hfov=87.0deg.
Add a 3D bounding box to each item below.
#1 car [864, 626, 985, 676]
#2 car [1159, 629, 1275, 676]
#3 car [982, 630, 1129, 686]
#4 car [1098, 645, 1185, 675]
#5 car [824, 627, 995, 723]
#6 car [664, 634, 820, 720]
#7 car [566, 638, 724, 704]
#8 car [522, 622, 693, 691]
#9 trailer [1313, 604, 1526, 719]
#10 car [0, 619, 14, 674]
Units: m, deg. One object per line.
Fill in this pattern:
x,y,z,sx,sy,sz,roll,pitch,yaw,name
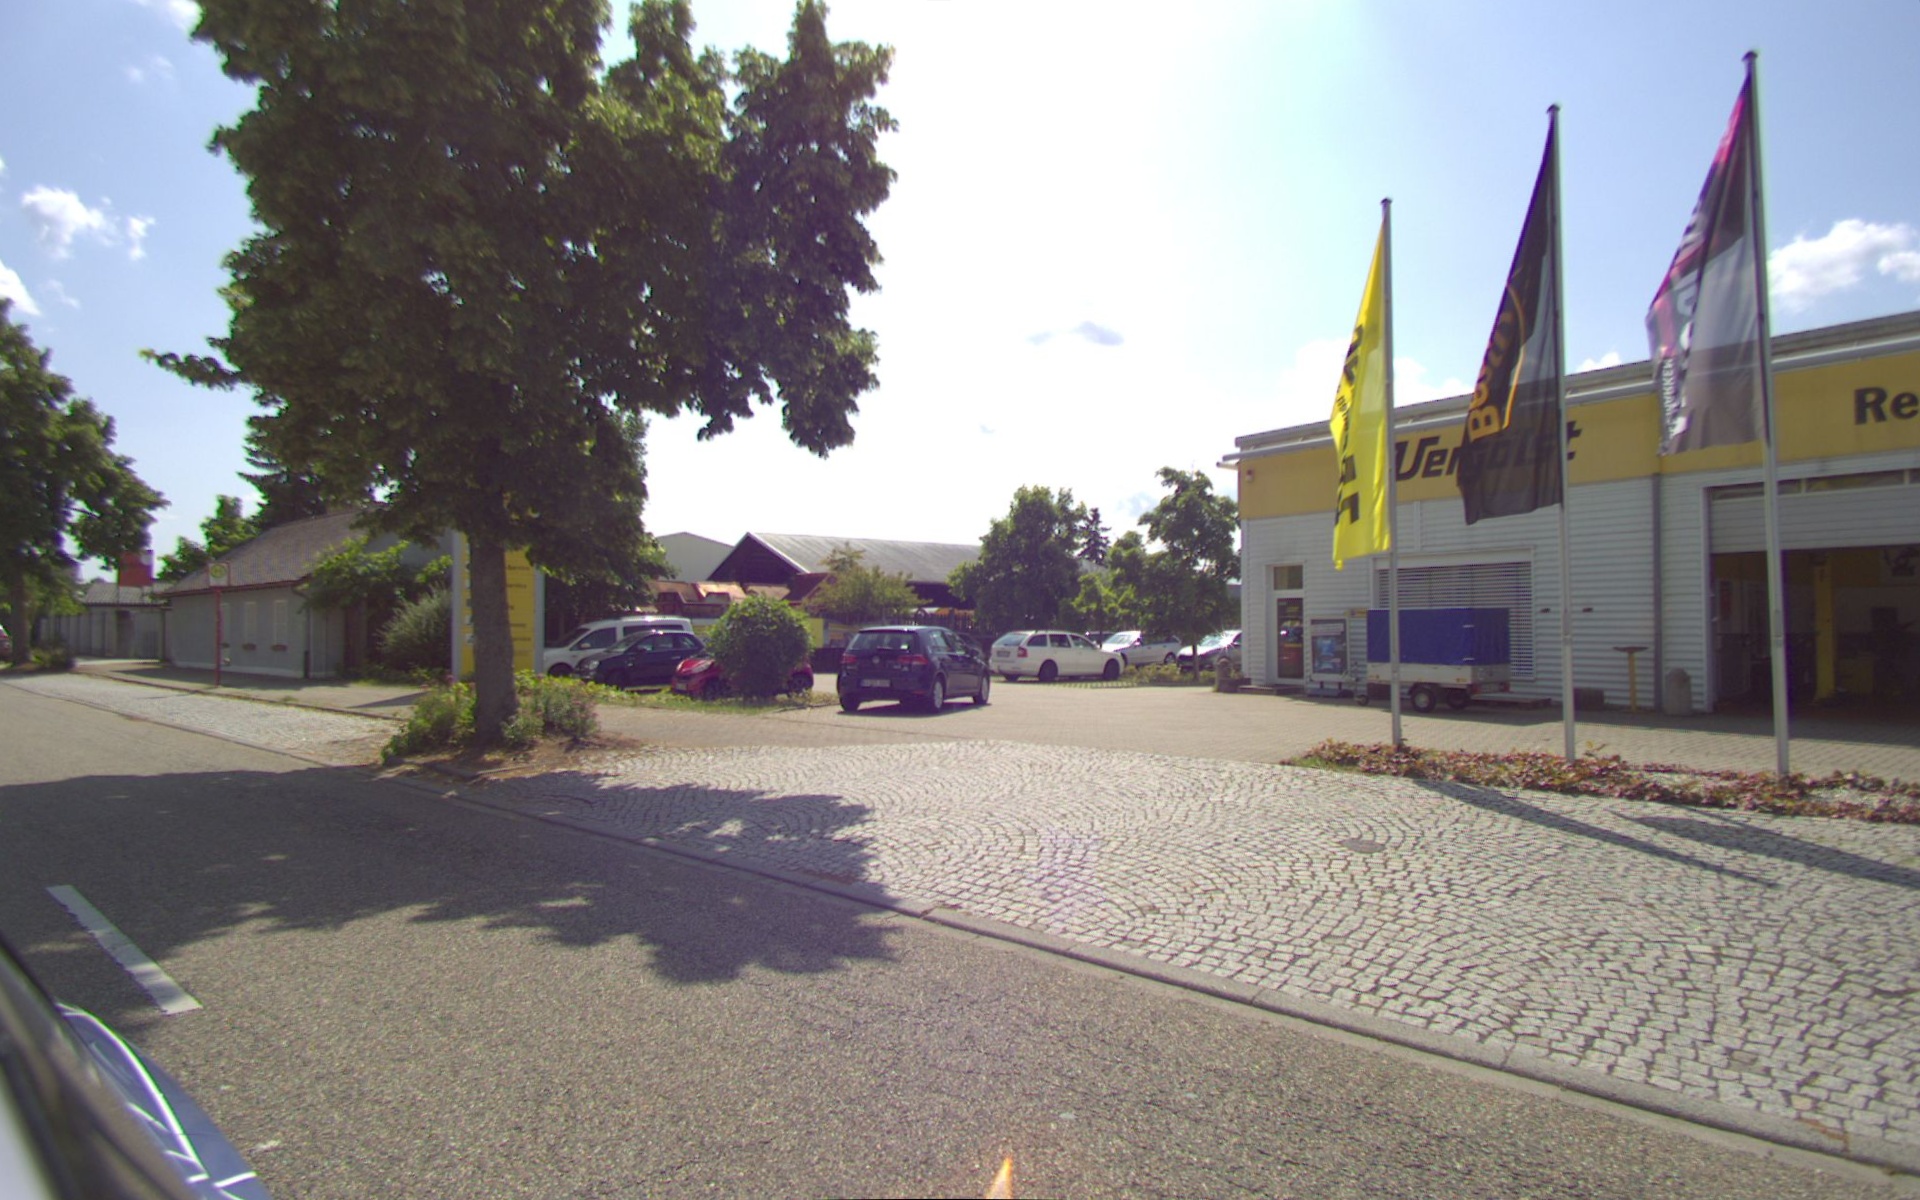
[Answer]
-1.186,1.729,34.911,3.940,1.622,1.851,1,-3,-44,car
8.691,1.729,34.078,3.940,1.458,2.001,1,-3,-44,car
2.817,1.656,29.460,4.213,1.494,1.674,2,-2,-36,car
6.721,2.203,37.337,3.291,1.009,1.341,1,-2,-40,car
-0.758,1.222,17.809,1.844,1.424,3.823,-1,-1,17,car
-4.461,1.521,20.726,2.736,1.556,1.596,0,-1,-31,car
-7.652,1.682,24.719,3.498,1.393,1.239,0,-1,-37,car
-9.465,1.481,27.338,4.035,1.726,1.681,1,-3,-42,car
7.491,0.937,16.703,1.249,1.705,2.977,0,-1,-33,trailer
-42.275,1.998,43.592,1.969,2.321,4.006,1,-2,-40,car
